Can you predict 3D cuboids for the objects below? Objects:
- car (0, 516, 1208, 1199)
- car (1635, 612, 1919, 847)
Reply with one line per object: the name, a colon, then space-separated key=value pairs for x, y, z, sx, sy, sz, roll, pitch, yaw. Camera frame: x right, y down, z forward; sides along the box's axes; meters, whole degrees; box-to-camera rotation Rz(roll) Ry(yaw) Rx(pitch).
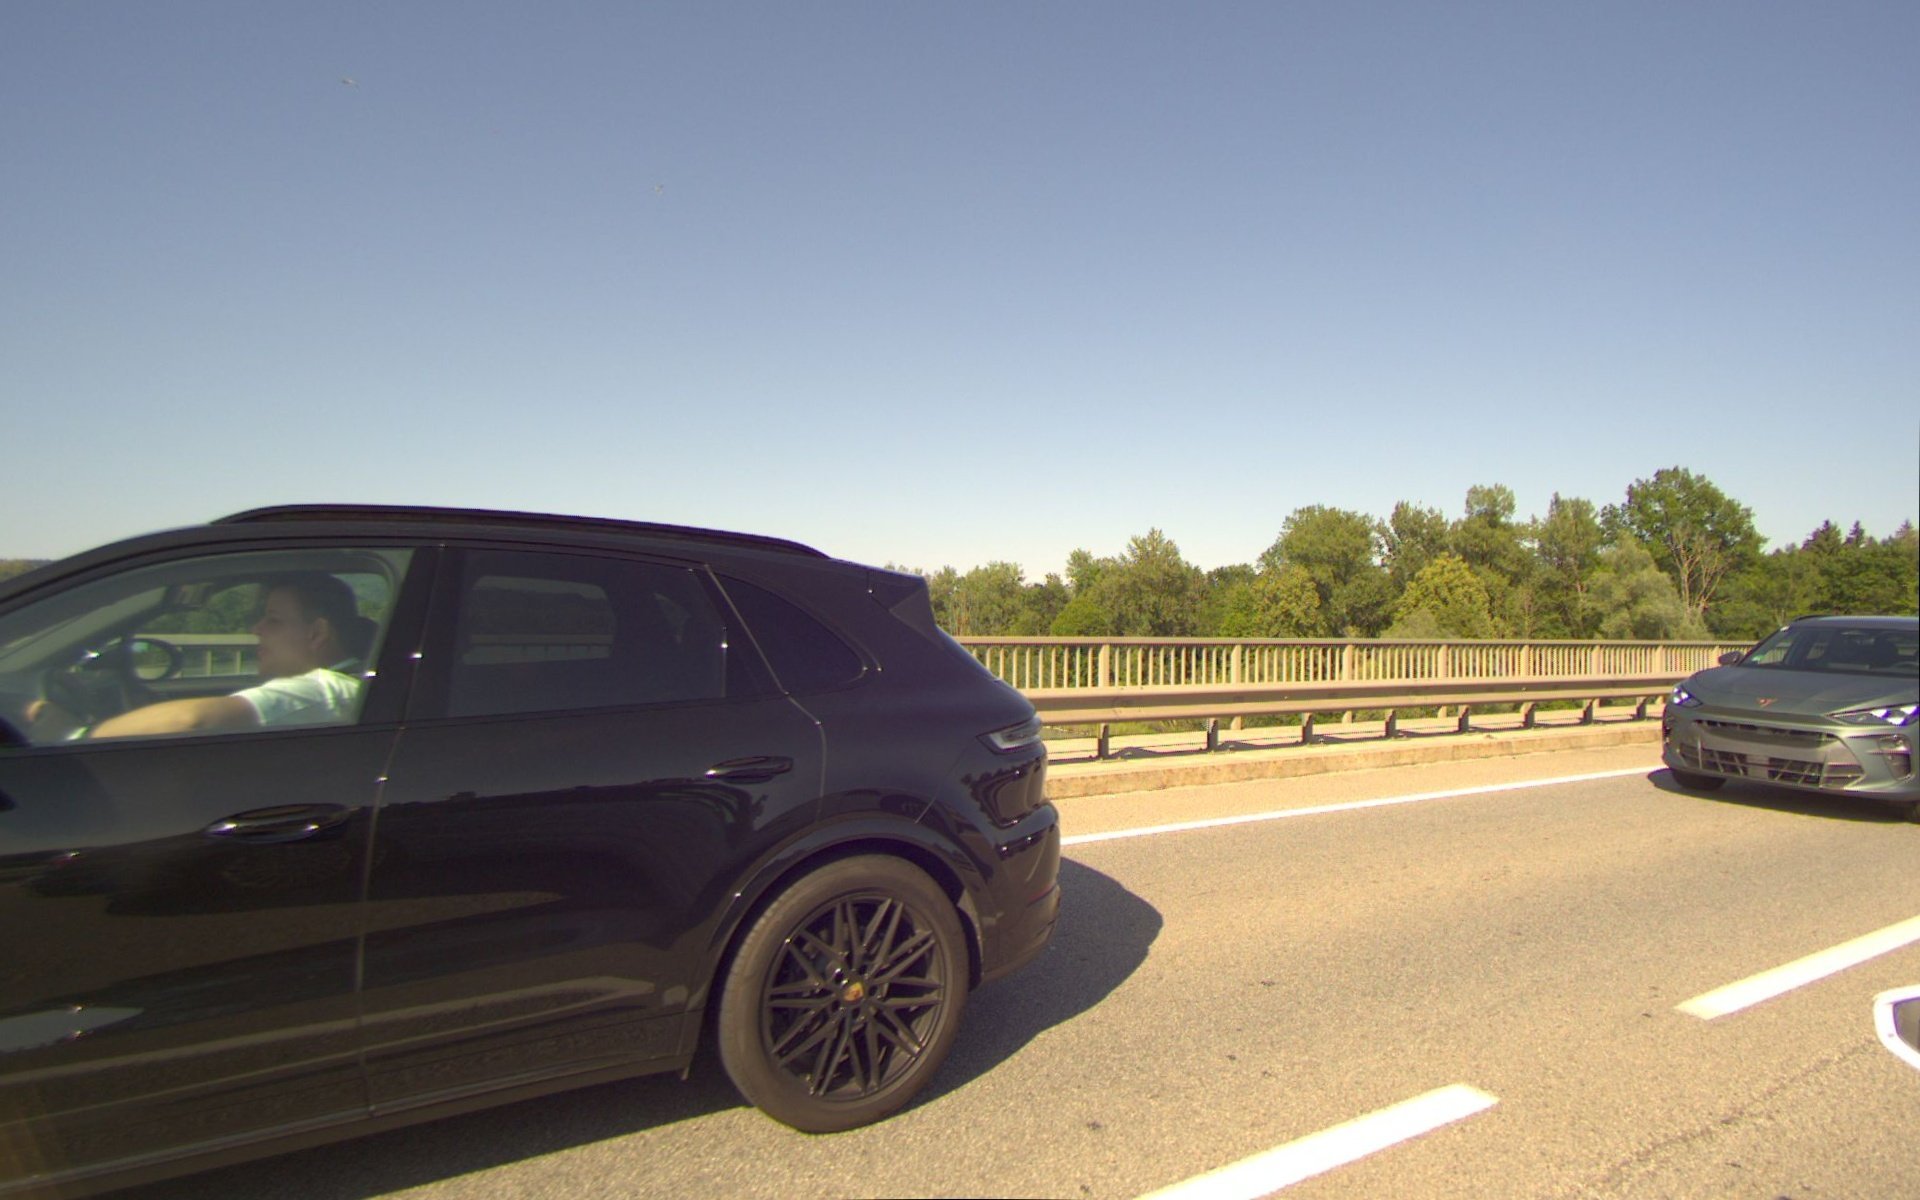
car: x=-1.709 y=0.677 z=3.074 sx=4.664 sy=1.675 sz=2.044 roll=1 pitch=1 yaw=-30
car: x=8.005 y=0.946 z=8.850 sx=4.152 sy=1.598 sz=1.797 roll=1 pitch=1 yaw=-31
